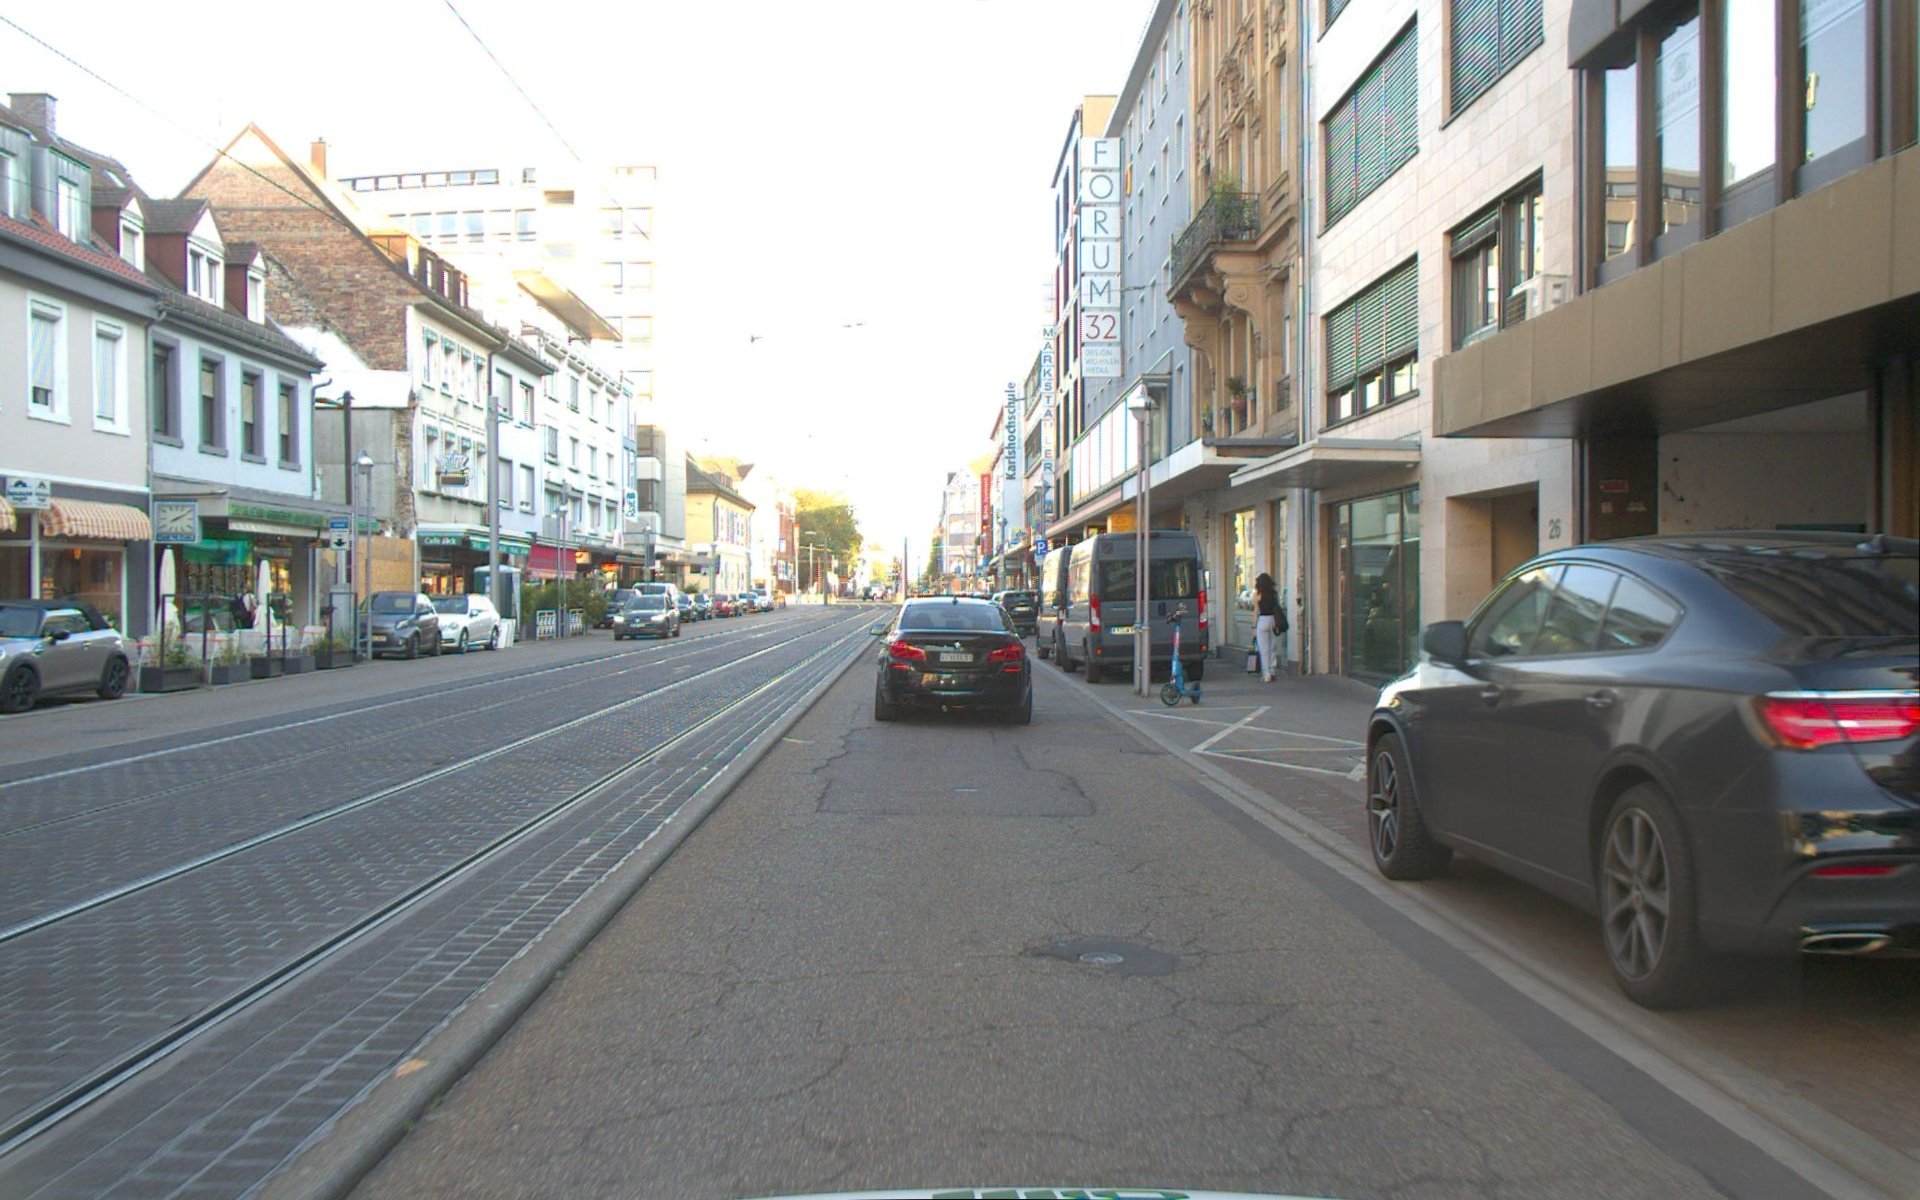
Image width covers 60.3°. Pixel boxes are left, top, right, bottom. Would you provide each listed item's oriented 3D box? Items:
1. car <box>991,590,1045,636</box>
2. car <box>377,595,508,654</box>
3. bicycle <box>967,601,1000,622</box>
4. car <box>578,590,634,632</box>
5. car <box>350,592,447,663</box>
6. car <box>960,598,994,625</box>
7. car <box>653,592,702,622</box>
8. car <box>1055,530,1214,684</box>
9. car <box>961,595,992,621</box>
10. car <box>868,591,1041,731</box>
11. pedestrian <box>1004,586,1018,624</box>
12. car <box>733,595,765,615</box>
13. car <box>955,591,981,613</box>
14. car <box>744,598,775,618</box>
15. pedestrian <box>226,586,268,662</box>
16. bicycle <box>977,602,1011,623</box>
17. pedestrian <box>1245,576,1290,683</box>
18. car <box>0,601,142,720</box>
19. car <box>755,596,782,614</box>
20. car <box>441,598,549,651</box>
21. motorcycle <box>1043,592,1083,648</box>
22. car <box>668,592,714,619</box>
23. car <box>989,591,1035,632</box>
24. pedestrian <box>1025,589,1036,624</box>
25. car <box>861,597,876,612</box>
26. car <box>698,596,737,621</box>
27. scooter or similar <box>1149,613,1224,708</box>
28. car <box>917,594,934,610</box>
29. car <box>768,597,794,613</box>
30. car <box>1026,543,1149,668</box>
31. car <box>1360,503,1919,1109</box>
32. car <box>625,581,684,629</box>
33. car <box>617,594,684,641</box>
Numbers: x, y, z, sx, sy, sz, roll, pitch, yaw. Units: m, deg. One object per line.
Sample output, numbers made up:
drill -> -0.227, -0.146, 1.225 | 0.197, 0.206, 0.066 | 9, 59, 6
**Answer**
car -> 2.043, 0.434, 59.094 | 1.621, 1.564, 3.884 | -1, 0, -2
car -> -13.503, 0.603, 43.484 | 1.953, 1.478, 4.821 | 0, 0, 0
bicycle -> 1.339, 0.652, 93.855 | 1.823, 1.139, 0.468 | 0, -1, -1
car -> -14.896, 0.440, 69.717 | 1.830, 1.714, 3.995 | 0, 0, -6
car -> -13.204, 0.623, 39.022 | 1.447, 1.605, 2.793 | -1, 0, -3
car -> 0.981, 0.667, 97.481 | 1.864, 1.576, 3.999 | 0, -1, -1
car -> -14.631, 0.352, 85.948 | 1.889, 1.460, 4.245 | 1, 0, -1
car -> 3.056, 0.104, 30.305 | 2.050, 2.498, 6.030 | -1, 0, -2
car -> 1.029, 0.531, 104.248 | 1.864, 1.576, 3.779 | 0, -1, -1
car -> -0.058, 0.681, 20.787 | 1.913, 1.524, 4.465 | 1, 0, 0
pedestrian -> 2.232, 0.207, 73.049 | 0.545, 1.676, 0.759 | -1, 0, -2
car -> -15.392, 0.339, 120.936 | 1.889, 1.460, 4.245 | 0, 0, -1
car -> 0.551, 0.144, 118.658 | 1.738, 1.576, 3.502 | 0, -1, -1
car -> -15.373, 0.583, 127.112 | 1.889, 1.460, 4.245 | 1, 0, -1
pedestrian -> -15.890, 0.538, 36.873 | 0.649, 1.673, 0.694 | 0, 0, -1
bicycle -> 1.819, 0.675, 88.153 | 1.823, 1.099, 0.468 | 0, -1, -1
pedestrian -> 4.914, 0.466, 26.438 | 0.539, 1.673, 0.533 | -3, 0, -1
car -> -13.076, 0.778, 22.935 | 1.566, 1.465, 3.812 | 2, 0, -1
car -> -16.299, 0.389, 140.854 | 1.889, 1.460, 4.245 | 1, 0, -1
car -> -13.520, 0.677, 48.341 | 1.953, 1.478, 4.329 | 0, 0, 0
motorcycle -> 2.759, 0.532, 44.553 | 0.827, 1.443, 2.164 | -3, 0, -1
car -> -15.023, 0.302, 92.512 | 1.889, 1.460, 4.245 | 1, 0, -1
car -> 1.986, 0.438, 64.111 | 1.528, 1.467, 3.708 | -2, 0, -2
pedestrian -> 3.689, 0.334, 86.415 | 0.543, 1.823, 0.759 | -1, 0, -1
car -> -12.532, 0.628, 227.456 | 1.953, 1.870, 3.998 | 0, -3, -1
car -> -14.977, 0.493, 102.320 | 1.889, 1.460, 4.245 | 1, 0, -1
scooter or similar -> 3.106, 0.806, 22.662 | 0.490, 1.241, 1.260 | 0, 0, 35
car -> -3.462, 0.237, 166.420 | 1.738, 1.576, 3.502 | 0, -1, -1
car -> -16.242, 0.448, 150.255 | 1.889, 1.460, 4.245 | 1, 0, -1
car -> 2.736, 0.096, 36.722 | 1.993, 2.498, 5.406 | -2, 0, -3
car -> 3.301, 0.582, 7.130 | 1.953, 1.757, 4.564 | -1, 0, -1
car -> -14.457, 0.224, 78.459 | 1.953, 2.194, 4.910 | 0, 0, -1
car -> -10.407, 0.559, 55.804 | 1.658, 1.478, 4.462 | -1, 1, -3
